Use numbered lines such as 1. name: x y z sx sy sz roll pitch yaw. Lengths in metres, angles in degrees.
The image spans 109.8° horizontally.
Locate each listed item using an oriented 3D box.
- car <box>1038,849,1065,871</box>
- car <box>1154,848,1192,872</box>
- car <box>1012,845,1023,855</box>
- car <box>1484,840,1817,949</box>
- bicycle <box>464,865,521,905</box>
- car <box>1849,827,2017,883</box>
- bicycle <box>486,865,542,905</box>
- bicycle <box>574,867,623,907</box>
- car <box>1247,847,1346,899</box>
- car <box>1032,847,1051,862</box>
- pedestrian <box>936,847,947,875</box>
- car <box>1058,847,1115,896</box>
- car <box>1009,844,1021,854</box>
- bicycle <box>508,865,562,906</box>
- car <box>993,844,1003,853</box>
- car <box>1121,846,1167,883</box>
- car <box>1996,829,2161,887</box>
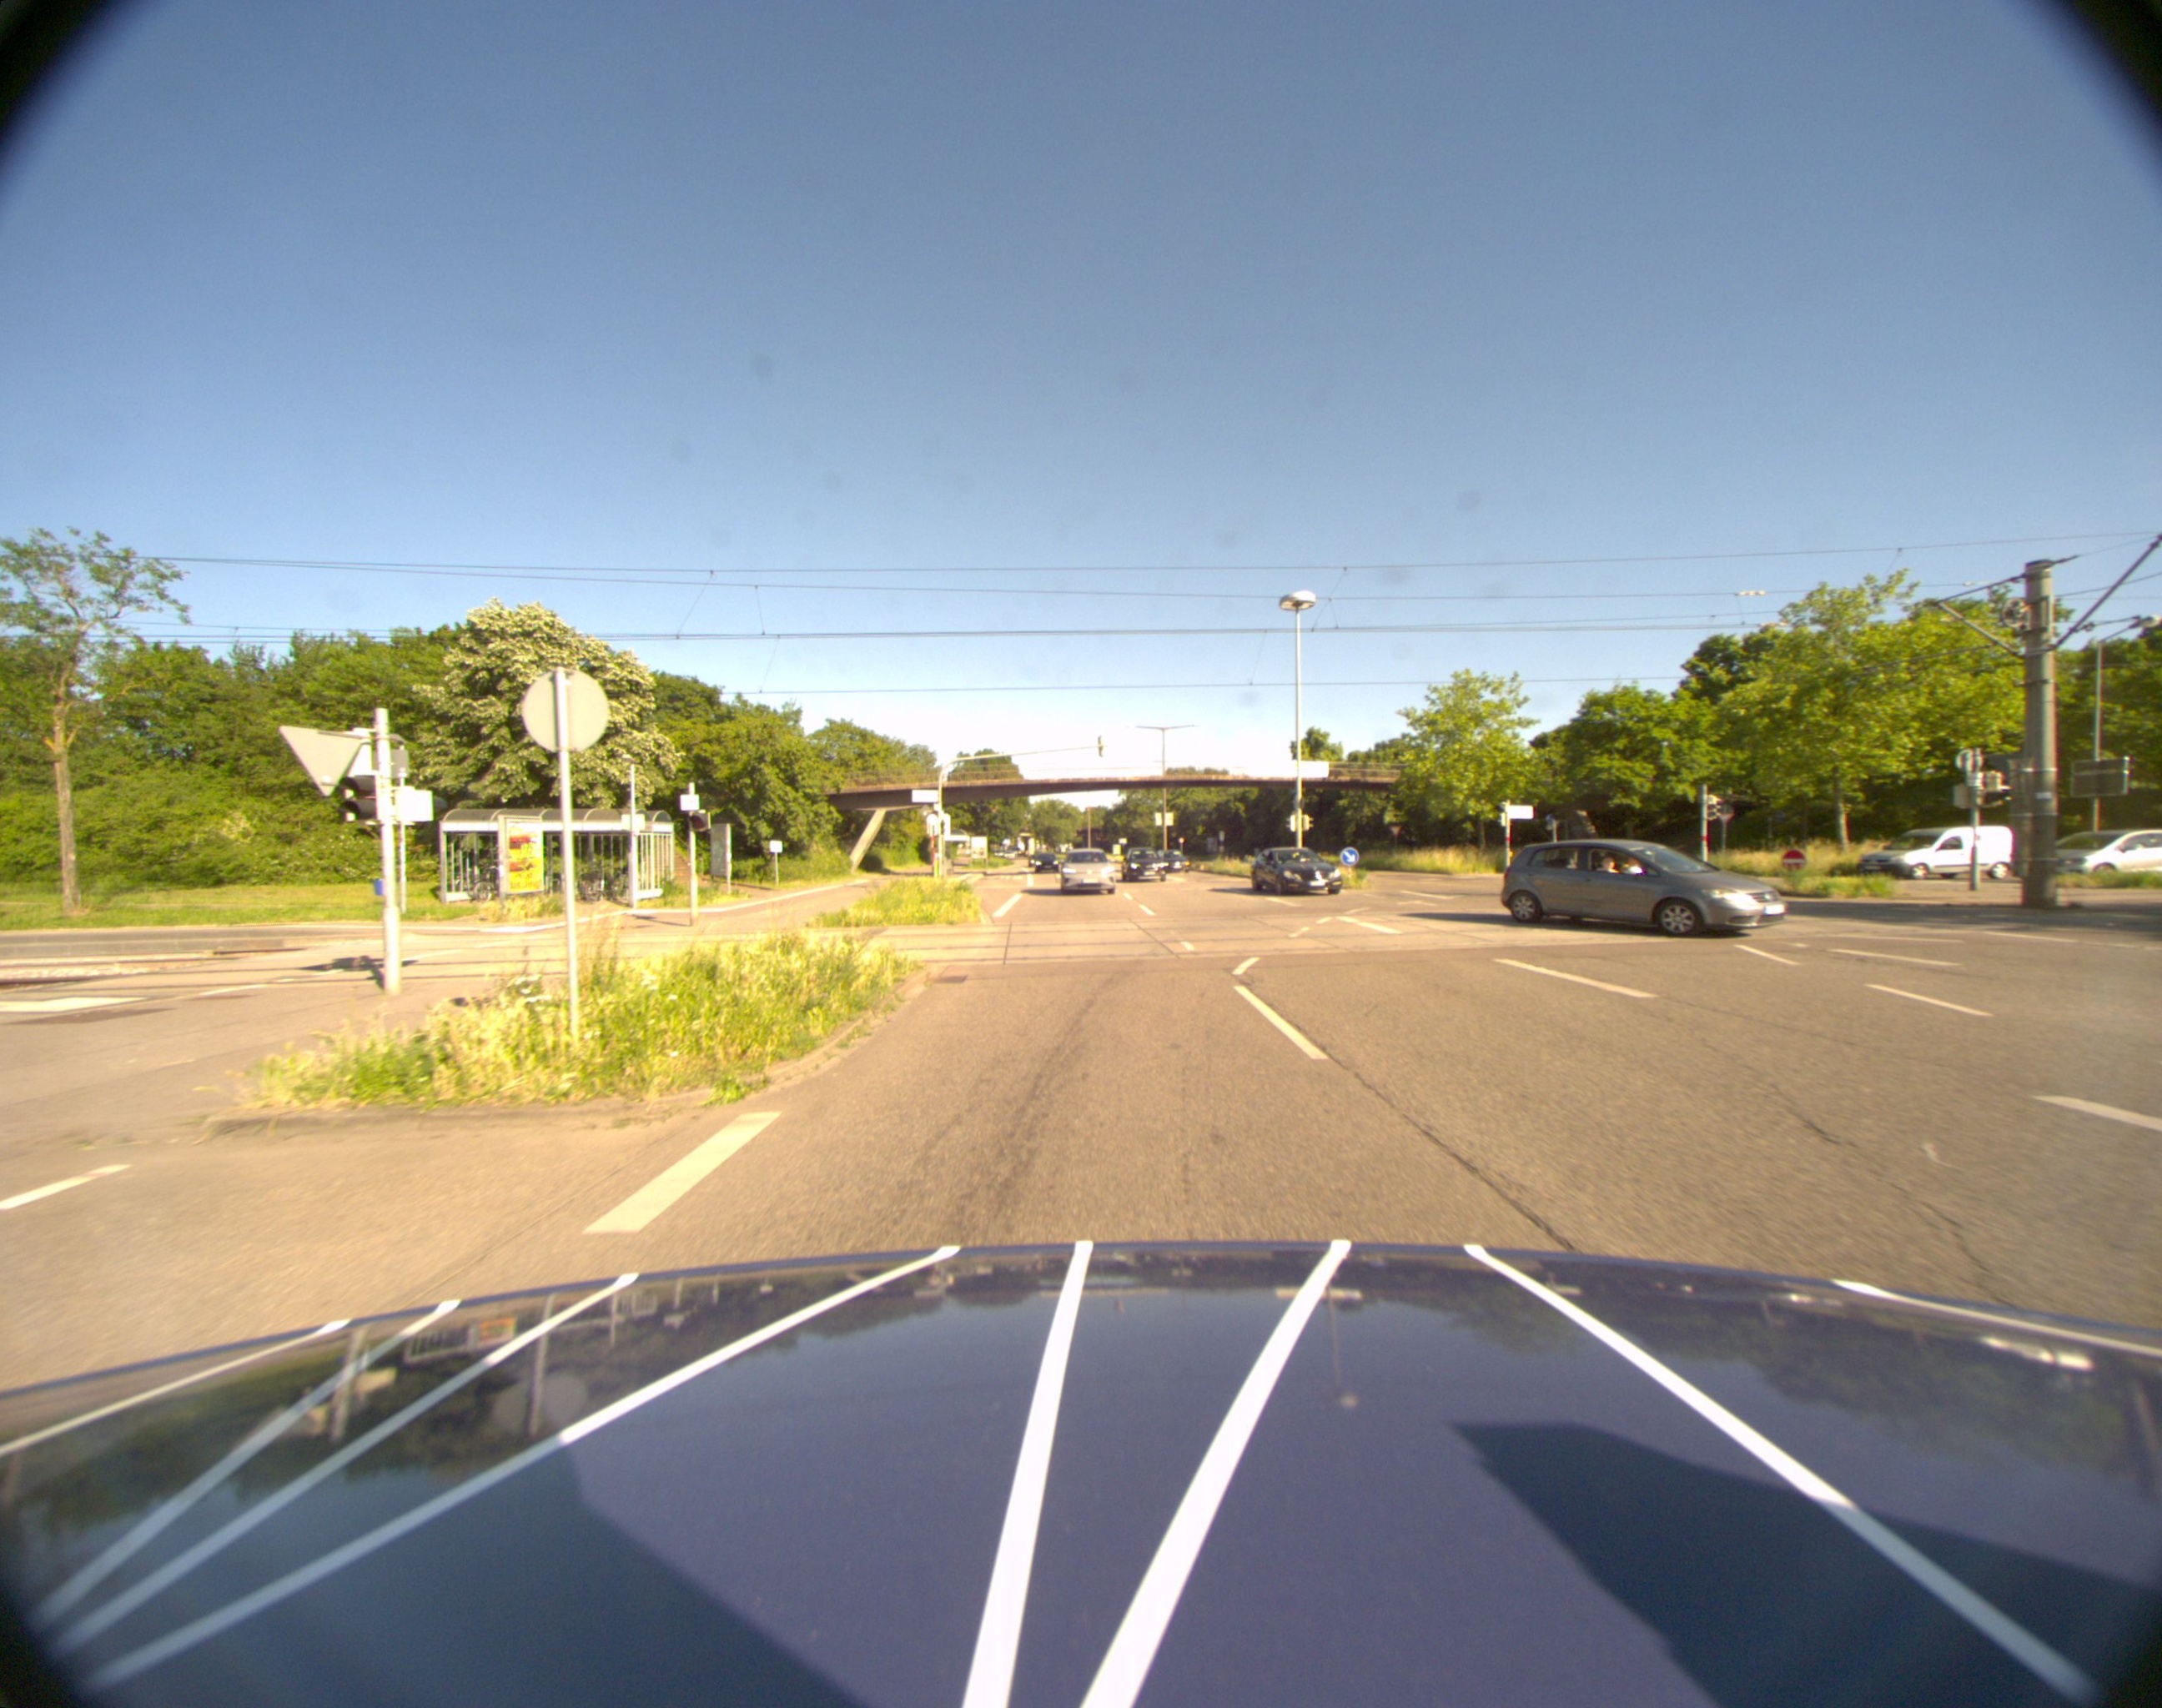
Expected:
1. car: -2.310 0.447 58.584 1.874 1.611 3.834 -2 1 -5
2. car: 5.950 0.348 49.448 1.796 1.487 4.000 0 0 -3
3. car: -12.925 -0.803 155.535 2.000 2.002 3.997 -1 1 -8
4. car: 9.673 0.573 13.400 1.850 1.562 4.378 -2 1 -22
5. bicycle: -18.828 0.981 24.352 0.431 1.062 1.783 1 5 -1
6. car: 28.896 0.017 25.836 3.999 1.744 1.777 -1 1 -5
7. bicycle: -18.164 0.973 24.385 0.431 1.062 1.783 1 5 -1
8. bicycle: -15.414 1.030 24.304 0.431 1.062 1.783 1 5 -1
9. car: 6.888 0.531 24.828 1.779 1.478 4.528 -2 1 -2
10. car: -4.275 0.032 81.188 1.874 1.611 3.834 -2 1 -5
11. pedestrian: -8.293 0.421 45.203 0.589 1.652 0.716 0 1 -6
12. car: 0.265 0.581 27.721 1.801 1.664 4.240 0 0 4
13. car: -11.342 -0.848 130.294 1.874 1.611 3.833 -2 1 -6
14. bicycle: -17.540 0.992 24.442 0.431 1.062 1.783 1 5 -1
15. car: -15.974 -0.996 145.883 1.874 1.611 3.833 -2 1 -8
16. car: 2.997 0.454 36.995 1.714 1.653 3.855 -2 1 -3
17. car: 30.001 0.086 22.483 3.924 1.551 1.851 -1 1 -5
